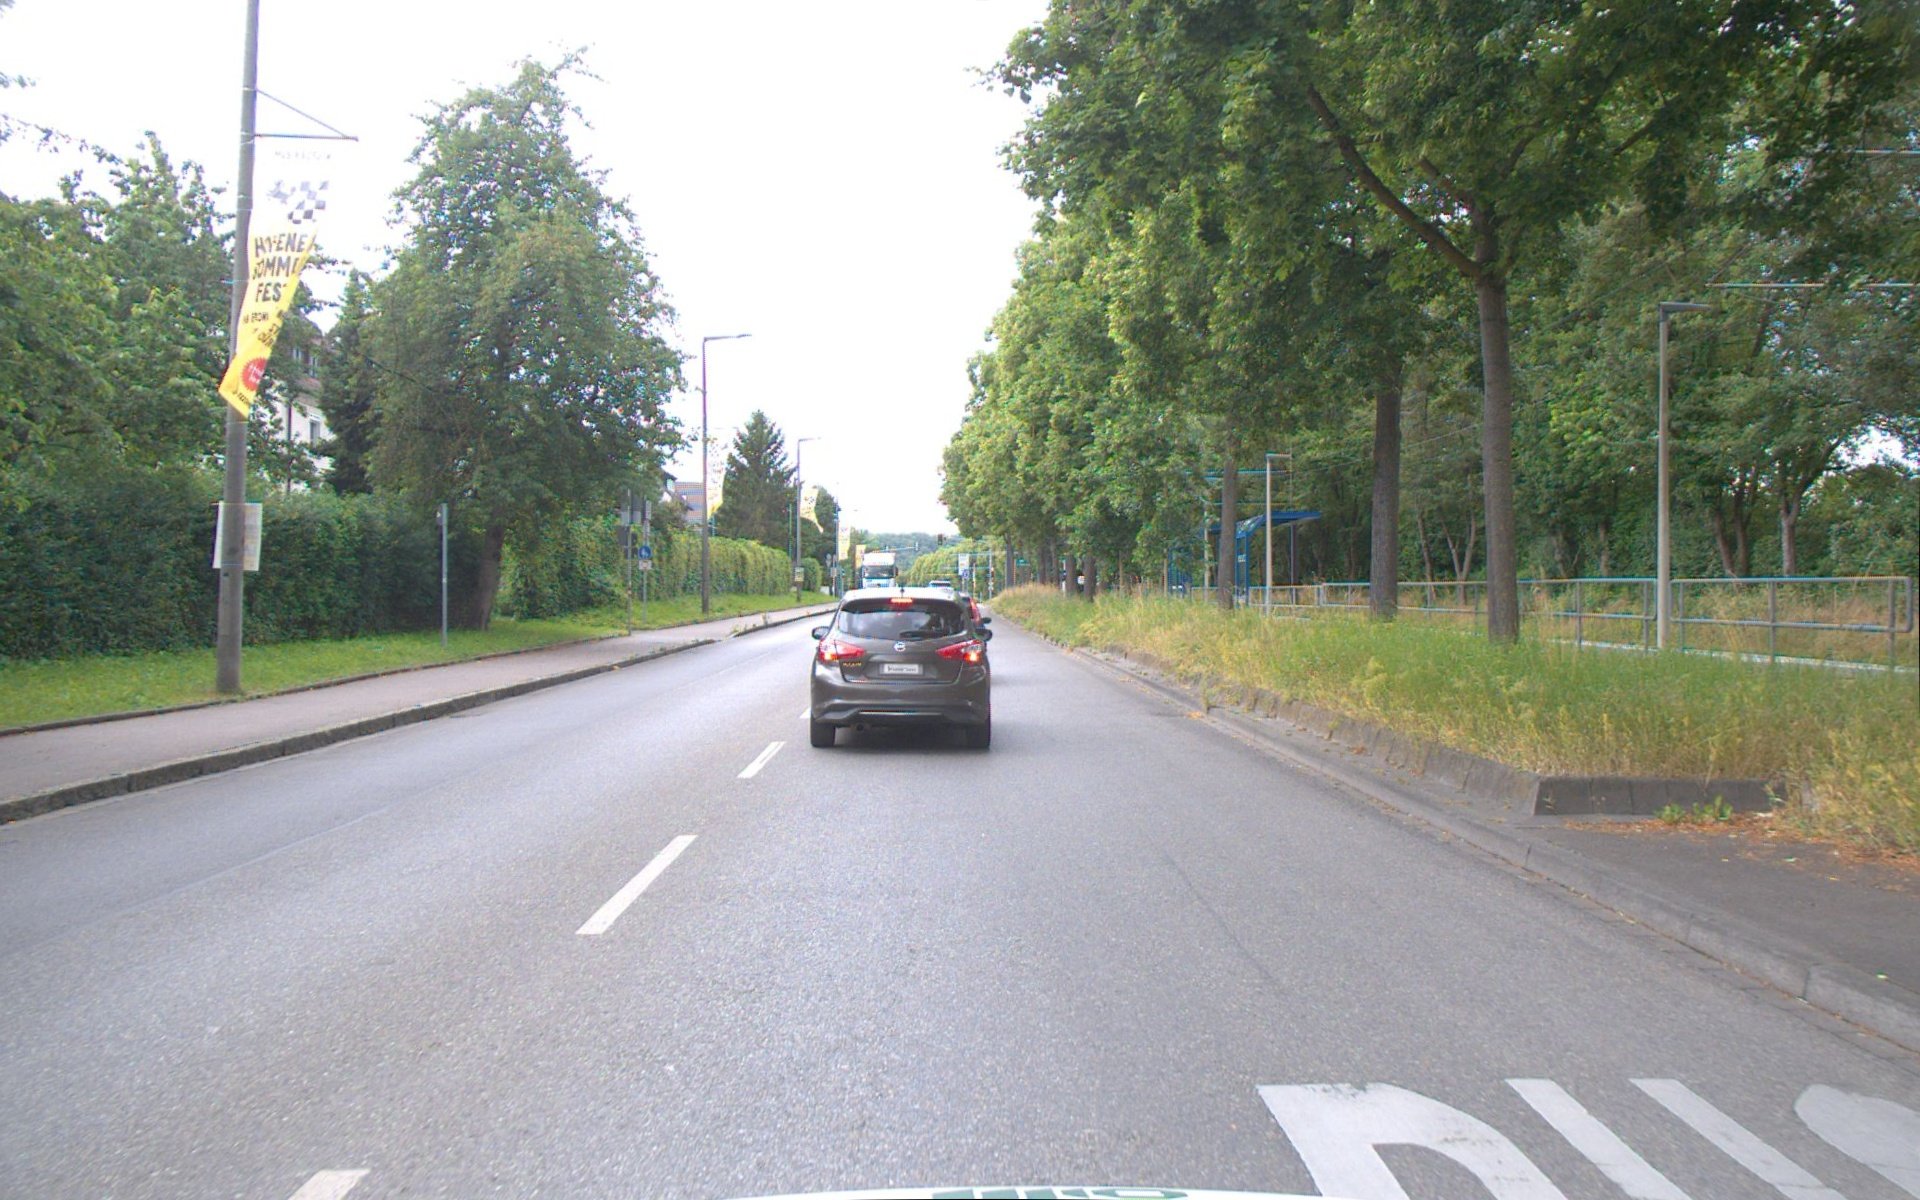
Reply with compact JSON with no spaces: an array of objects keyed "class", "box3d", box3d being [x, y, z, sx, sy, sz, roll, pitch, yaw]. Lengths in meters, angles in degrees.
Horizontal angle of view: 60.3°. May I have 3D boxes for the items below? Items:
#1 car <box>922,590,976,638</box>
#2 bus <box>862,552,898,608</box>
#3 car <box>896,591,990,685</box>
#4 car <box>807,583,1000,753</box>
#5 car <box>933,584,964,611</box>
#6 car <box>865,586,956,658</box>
[{"class":"car","box3d":[-0.371,0.430,53.144,1.657,1.466,3.540,1,0,-1]},{"class":"bus","box3d":[-6.124,-1.513,127.794,2.437,4.096,10.215,0,0,-1]},{"class":"car","box3d":[-0.302,0.597,27.833,1.471,1.466,3.540,1,0,-1]},{"class":"car","box3d":[-0.540,0.626,16.958,1.747,1.533,3.695,-1,0,-1]},{"class":"car","box3d":[-0.665,-0.130,91.966,1.657,1.466,3.540,1,0,-1]},{"class":"car","box3d":[-1.118,0.515,38.417,1.953,1.512,3.999,2,-1,-1]}]
